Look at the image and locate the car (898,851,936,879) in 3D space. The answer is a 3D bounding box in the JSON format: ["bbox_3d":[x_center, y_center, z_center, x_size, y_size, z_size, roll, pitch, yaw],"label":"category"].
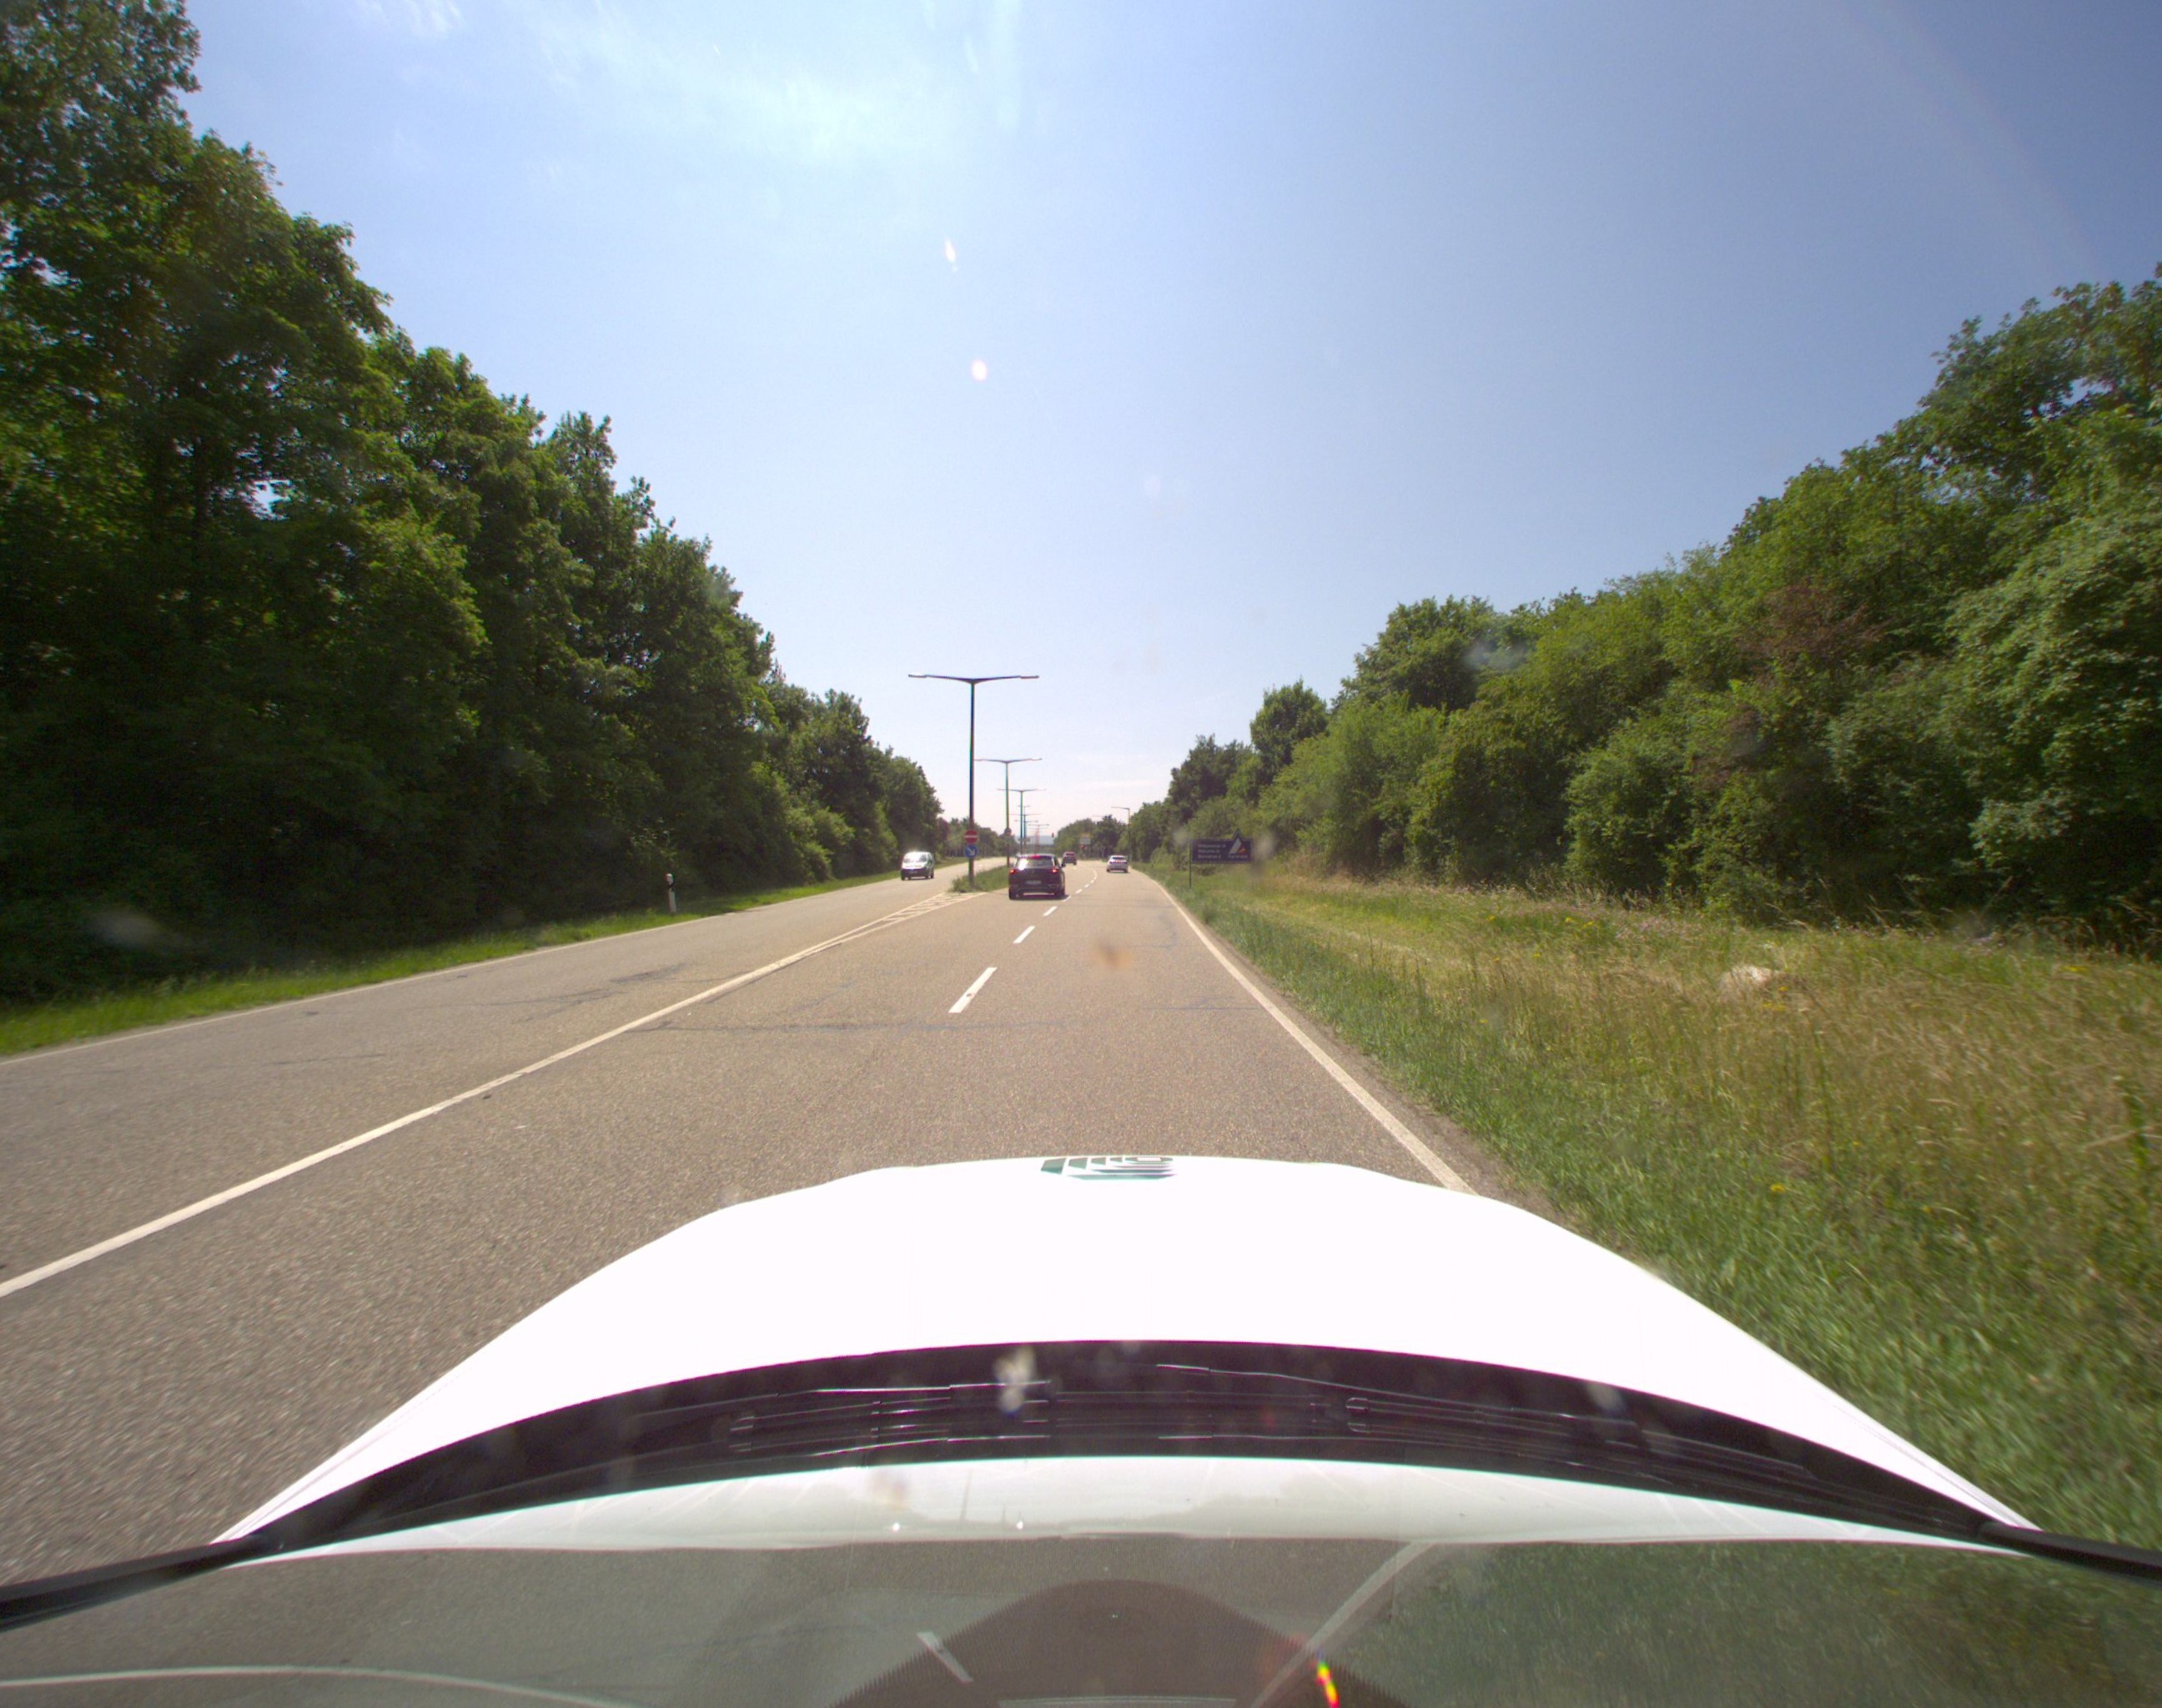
[{"bbox_3d":[-10.449,0.671,52.115,1.728,1.687,4.089,-2,0,-4],"label":"car"}]

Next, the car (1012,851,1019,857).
[{"bbox_3d":[-17.989,0.011,223.957,1.823,1.519,3.998,1,0,-1],"label":"car"}]

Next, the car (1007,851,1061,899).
[{"bbox_3d":[-1.588,0.704,28.769,1.751,1.556,3.997,1,0,-2],"label":"car"}]

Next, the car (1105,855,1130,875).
[{"bbox_3d":[3.097,0.918,70.437,1.793,1.583,3.996,-2,0,-2],"label":"car"}]

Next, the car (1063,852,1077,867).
[{"bbox_3d":[-1.523,0.718,110.912,1.751,1.929,3.995,1,0,-3],"label":"car"}]
